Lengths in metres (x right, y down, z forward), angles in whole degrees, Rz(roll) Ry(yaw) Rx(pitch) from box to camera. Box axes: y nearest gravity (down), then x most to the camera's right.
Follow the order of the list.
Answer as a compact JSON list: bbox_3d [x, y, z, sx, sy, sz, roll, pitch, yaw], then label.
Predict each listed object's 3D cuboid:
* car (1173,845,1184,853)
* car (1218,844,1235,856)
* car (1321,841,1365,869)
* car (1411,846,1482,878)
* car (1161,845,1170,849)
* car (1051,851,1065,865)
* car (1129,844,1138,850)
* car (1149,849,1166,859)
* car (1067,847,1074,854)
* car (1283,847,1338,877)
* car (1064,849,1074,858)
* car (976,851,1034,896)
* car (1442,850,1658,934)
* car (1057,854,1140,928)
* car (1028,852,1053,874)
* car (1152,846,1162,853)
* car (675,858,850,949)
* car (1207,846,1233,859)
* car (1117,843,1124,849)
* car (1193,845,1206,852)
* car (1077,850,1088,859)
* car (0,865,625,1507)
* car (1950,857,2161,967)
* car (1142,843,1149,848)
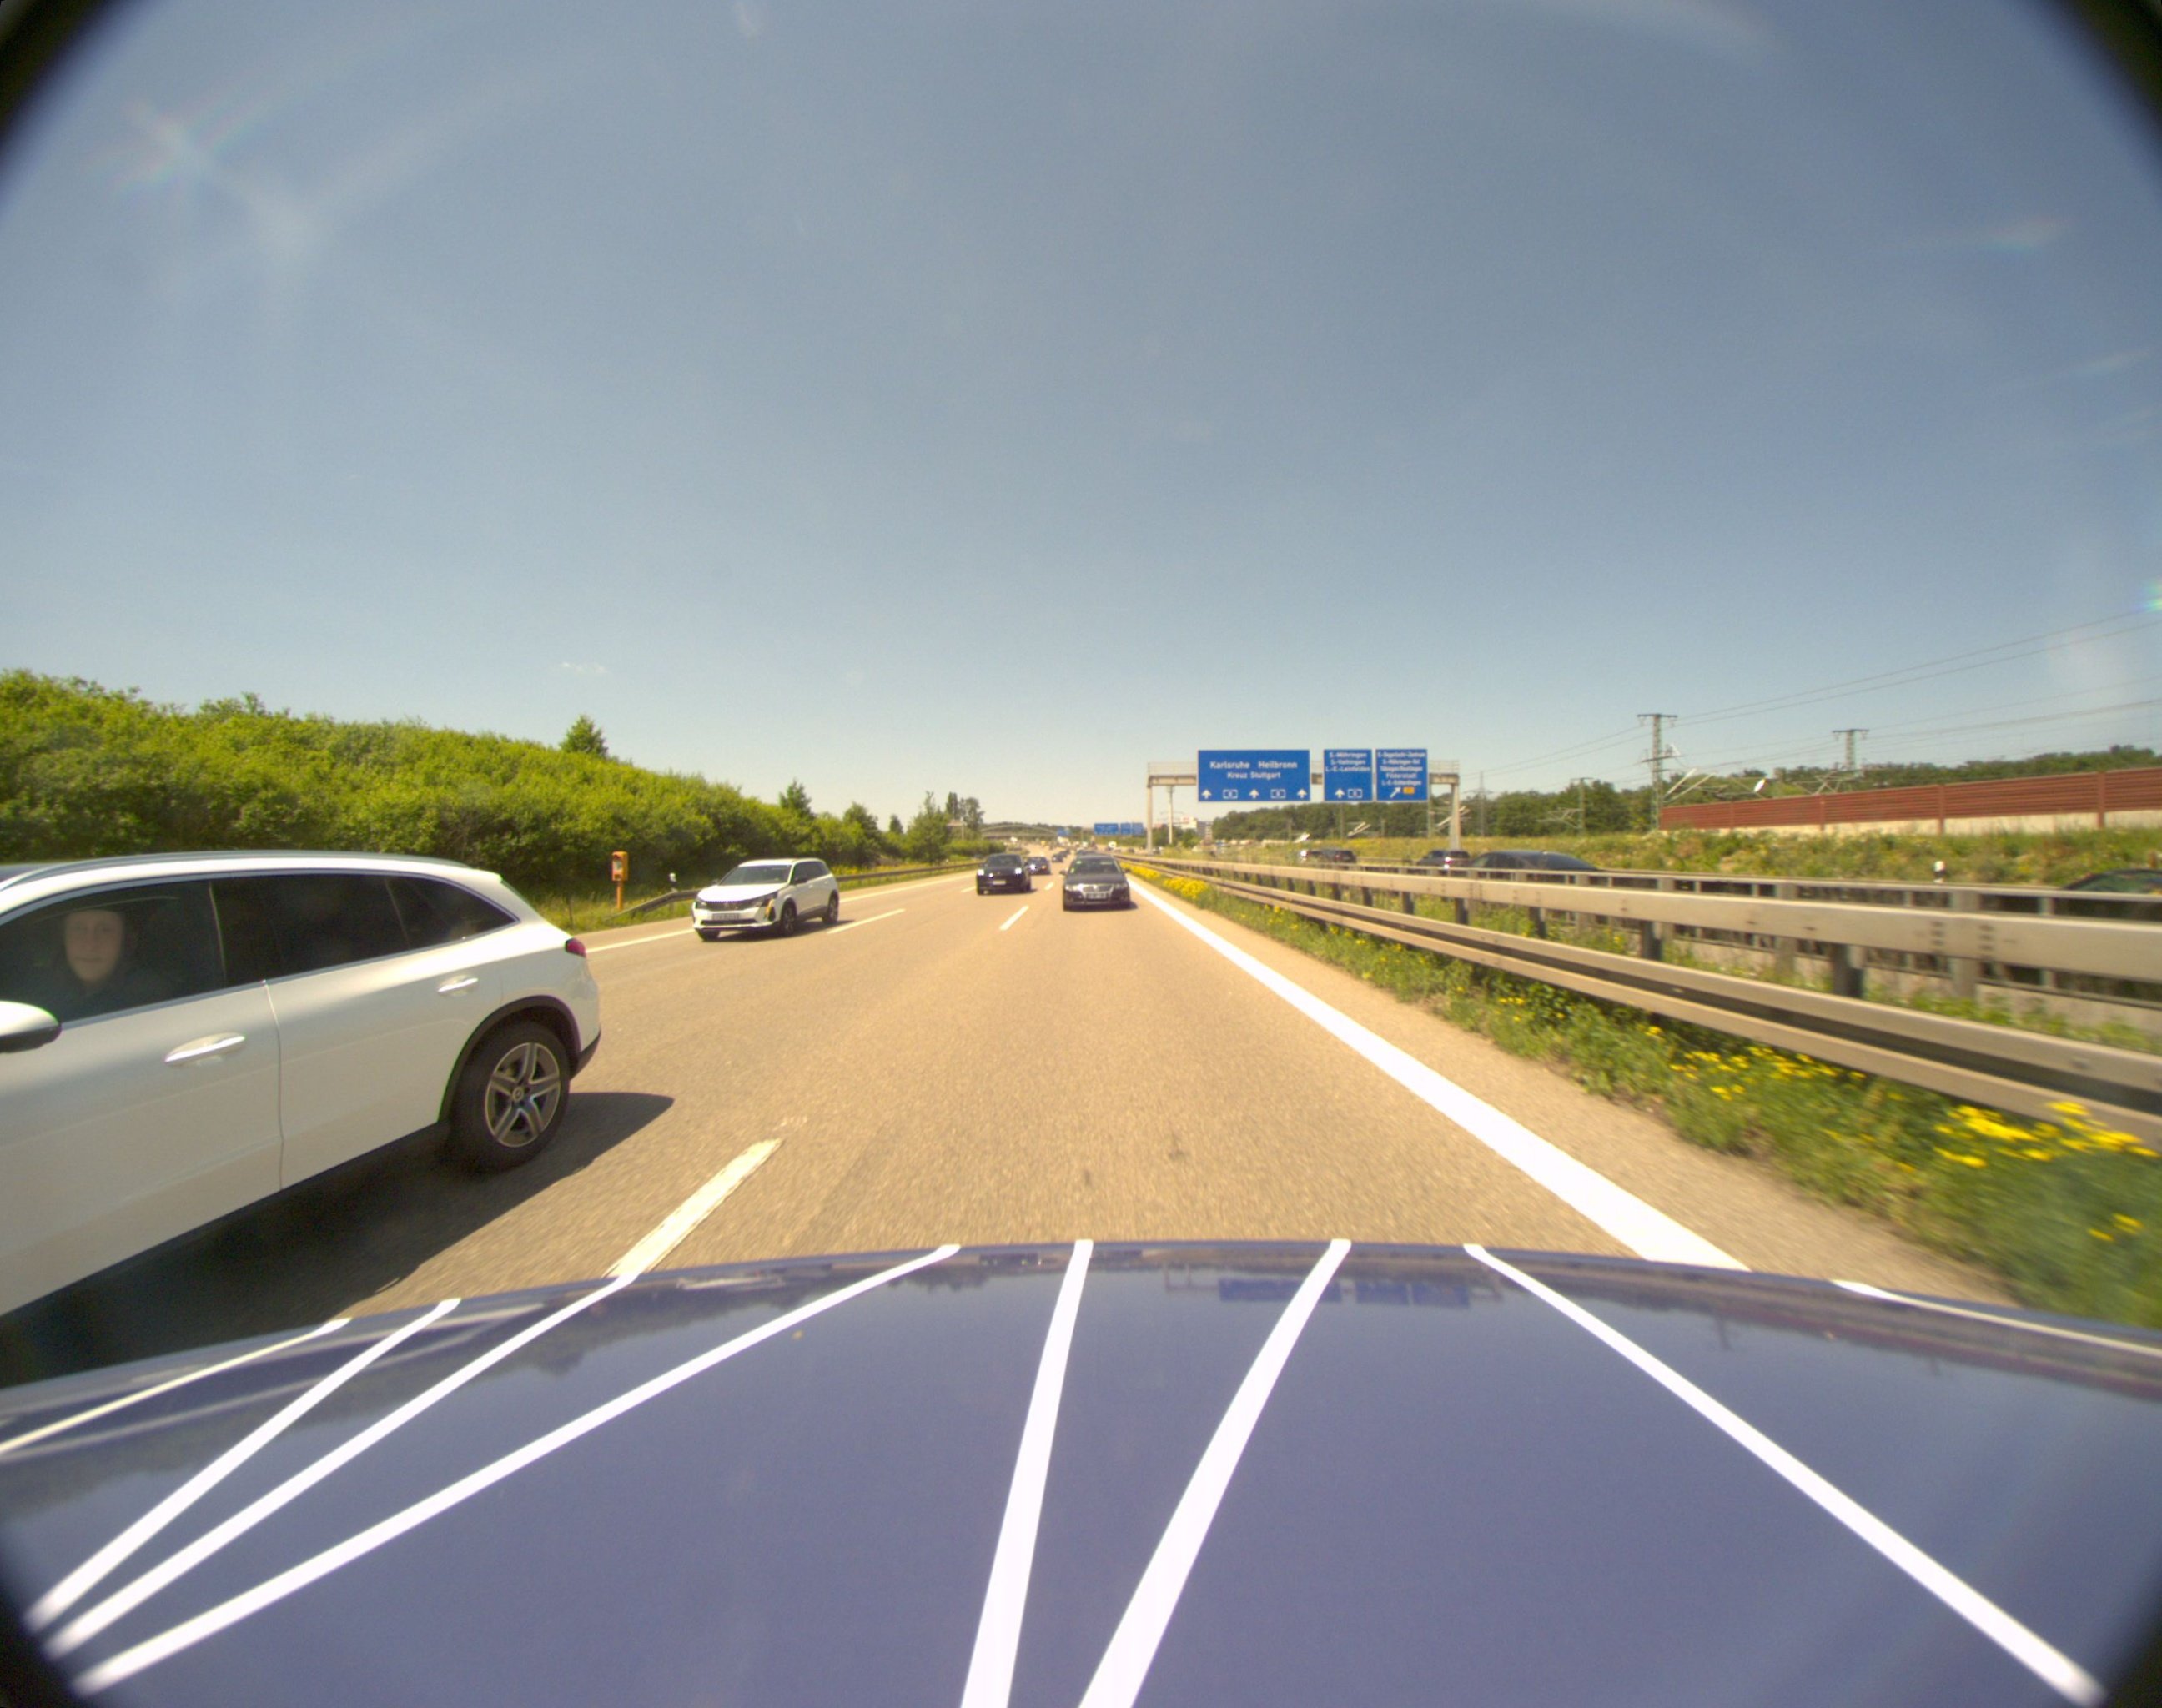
[{"bbox_3d":[20.888,-1.000,162.735,1.998,1.567,4.477,-2,1,3],"label":"car"},{"bbox_3d":[25.192,-0.699,131.652,1.998,1.875,4.977,-2,0,1],"label":"car"},{"bbox_3d":[20.745,0.052,60.345,1.998,2.002,4.308,-3,1,1],"label":"car"},{"bbox_3d":[21.268,0.422,44.389,1.998,1.716,4.513,-2,0,1],"label":"car"},{"bbox_3d":[24.433,-2.063,220.485,1.999,1.304,4.162,-2,1,0],"label":"car"},{"bbox_3d":[-3.391,0.535,114.200,1.999,2.002,3.999,-2,1,-1],"label":"car"},{"bbox_3d":[13.641,-1.793,196.473,1.934,1.475,4.476,-2,1,0],"label":"car"},{"bbox_3d":[10.442,-0.017,103.999,1.872,1.387,4.270,-1,0,1],"label":"car"},{"bbox_3d":[-3.068,-1.026,221.519,1.998,2.002,3.999,-3,1,1],"label":"car"},{"bbox_3d":[13.423,0.445,44.732,1.998,1.686,4.188,0,0,1],"label":"car"},{"bbox_3d":[-2.627,-0.130,168.168,1.999,1.691,3.999,-2,1,-1],"label":"car"},{"bbox_3d":[-3.065,0.749,31.508,1.983,1.620,4.615,-2,1,-2],"label":"car"},{"bbox_3d":[9.557,0.682,15.964,1.998,1.478,4.154,0,1,1],"label":"car"},{"bbox_3d":[0.358,0.815,18.530,1.752,1.462,3.999,-2,1,-1],"label":"car"},{"bbox_3d":[-3.004,0.636,56.361,1.752,1.462,3.998,-2,1,-2],"label":"car"},{"bbox_3d":[17.737,-1.085,177.743,1.998,1.567,4.476,-2,1,1],"label":"car"},{"bbox_3d":[-6.924,0.985,17.137,1.898,1.620,4.616,-2,1,0],"label":"car"},{"bbox_3d":[14.723,-0.173,80.683,1.872,1.387,4.512,-1,0,-2],"label":"car"},{"bbox_3d":[12.280,-2.639,237.529,1.999,1.820,5.598,-2,1,0],"label":"car"},{"bbox_3d":[25.457,-1.219,163.363,1.998,1.567,4.476,-2,1,1],"label":"car"},{"bbox_3d":[0.283,0.085,144.402,1.999,1.691,3.999,-2,1,-1],"label":"car"},{"bbox_3d":[-3.853,0.946,2.421,1.909,1.646,4.636,-2,0,0],"label":"car"},{"bbox_3d":[15.904,0.820,11.063,1.998,1.478,3.931,0,1,1],"label":"car"},{"bbox_3d":[21.912,-2.896,259.682,1.998,1.588,4.933,-2,1,1],"label":"car"}]
